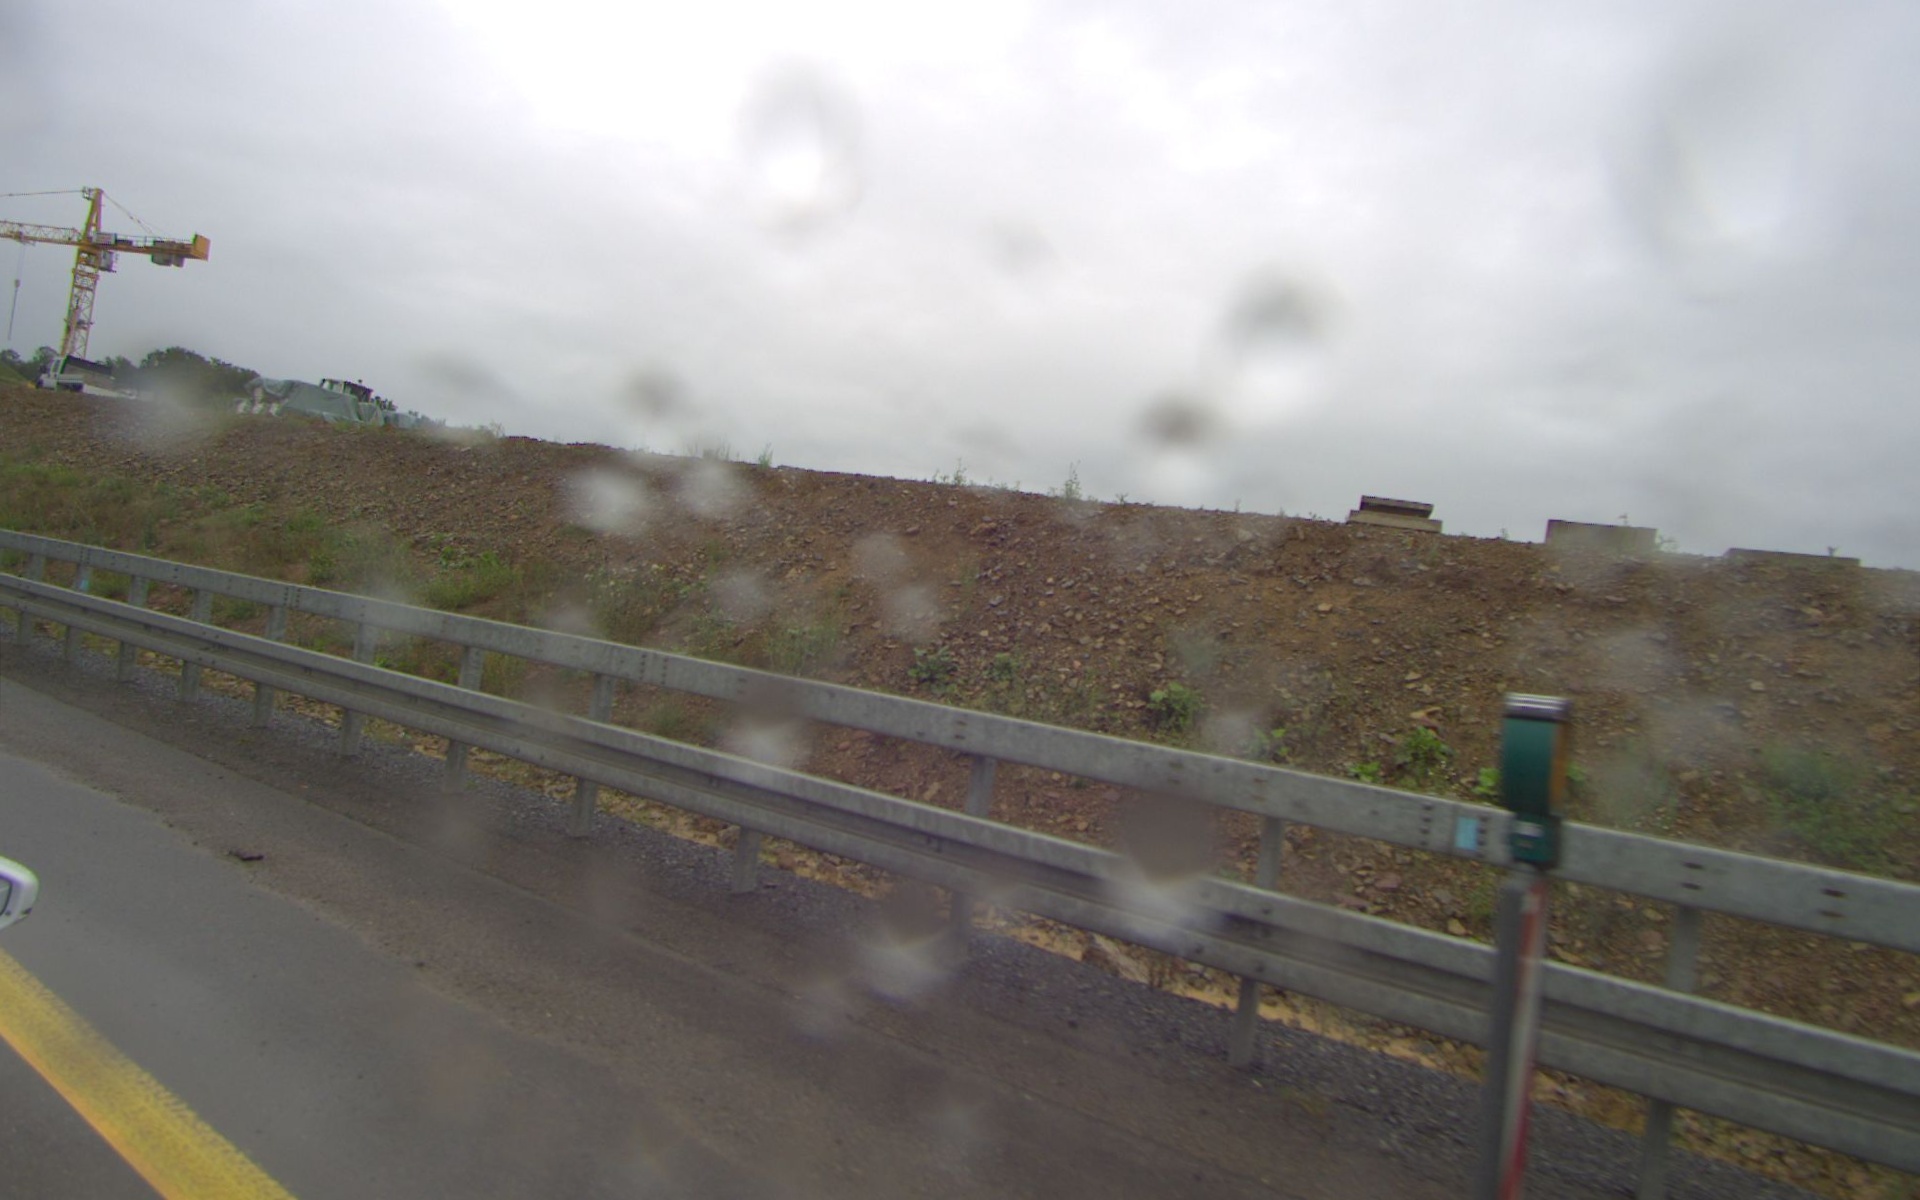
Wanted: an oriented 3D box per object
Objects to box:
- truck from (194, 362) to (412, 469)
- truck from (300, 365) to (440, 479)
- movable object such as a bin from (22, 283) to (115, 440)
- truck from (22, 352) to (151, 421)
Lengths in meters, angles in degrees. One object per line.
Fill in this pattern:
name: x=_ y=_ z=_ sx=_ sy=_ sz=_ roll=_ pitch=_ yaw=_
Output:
truck: x=-24.475 y=-6.715 z=37.295 sx=8.815 sy=2.909 sz=3.399 roll=6 pitch=-1 yaw=34
truck: x=-25.661 y=-7.687 z=43.696 sx=5.880 sy=4.269 sz=2.377 roll=7 pitch=0 yaw=31
movable object such as a bin: x=-74.966 y=-19.625 z=84.486 sx=4.705 sy=10.973 sz=10.177 roll=7 pitch=0 yaw=-43
truck: x=-42.897 y=-10.381 z=49.374 sx=6.868 sy=2.585 sz=2.650 roll=7 pitch=-1 yaw=31
